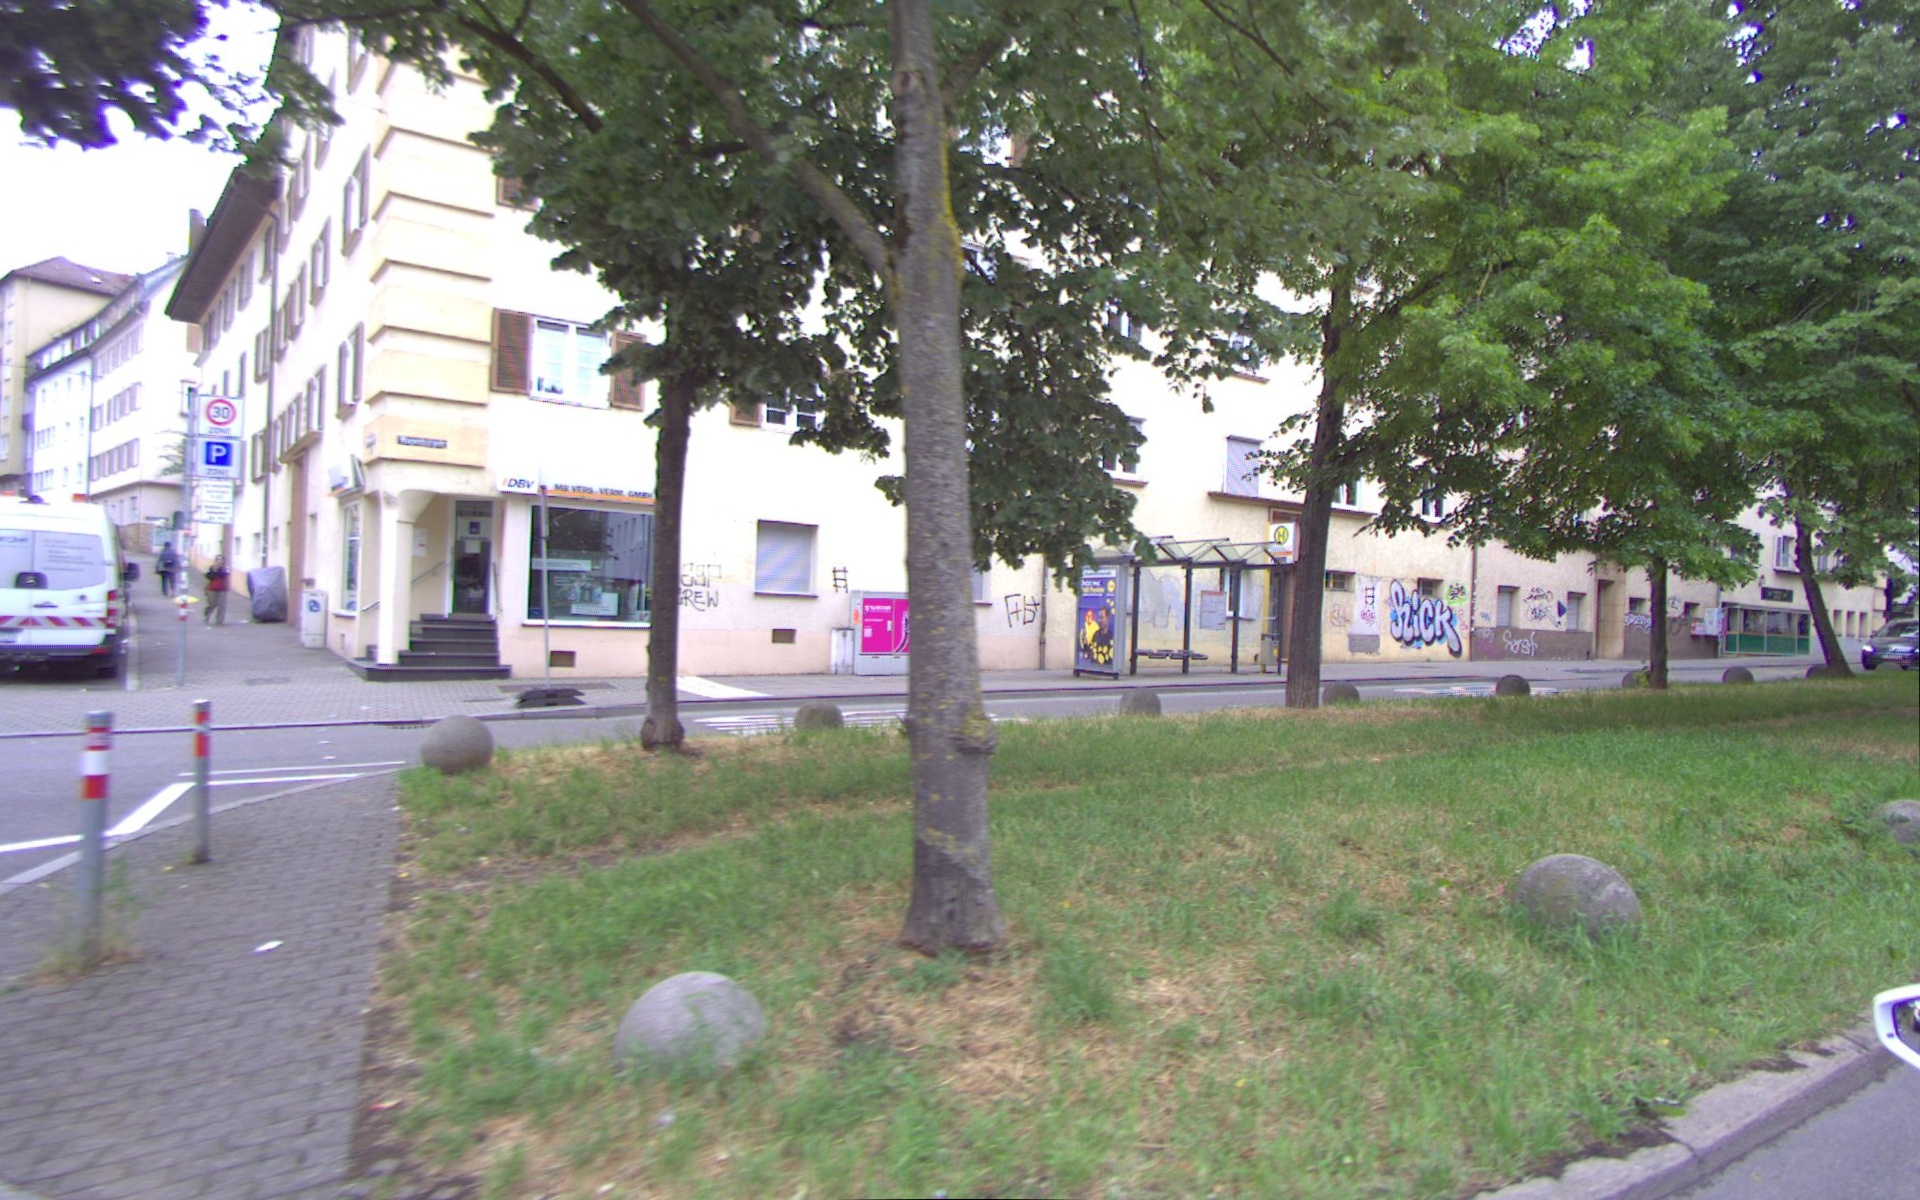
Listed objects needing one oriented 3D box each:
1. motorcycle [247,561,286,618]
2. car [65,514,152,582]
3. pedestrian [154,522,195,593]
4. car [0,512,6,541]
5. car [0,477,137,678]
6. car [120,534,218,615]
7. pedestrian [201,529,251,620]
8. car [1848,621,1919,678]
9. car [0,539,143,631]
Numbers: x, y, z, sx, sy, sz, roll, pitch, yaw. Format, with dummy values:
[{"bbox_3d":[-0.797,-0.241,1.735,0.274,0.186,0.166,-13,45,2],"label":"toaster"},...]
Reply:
[{"bbox_3d":[-17.138,-0.267,24.807,0.678,1.352,1.844,1,1,-37],"label":"motorcycle"},{"bbox_3d":[-28.385,-1.704,33.589,1.982,2.040,3.956,2,1,-38],"label":"car"},{"bbox_3d":[-23.197,-1.241,29.674,0.809,2.040,0.808,1,1,-30],"label":"pedestrian"},{"bbox_3d":[-62.611,-4.740,64.056,3.937,1.802,1.992,3,1,38],"label":"car"},{"bbox_3d":[-14.753,-0.515,16.200,2.160,2.773,5.127,1,4,-41],"label":"car"},{"bbox_3d":[-19.970,-0.636,25.424,1.791,1.848,3.956,2,1,-38],"label":"car"},{"bbox_3d":[-16.926,-0.575,23.175,0.809,2.040,0.808,1,1,-30],"label":"pedestrian"},{"bbox_3d":[30.569,1.584,32.221,4.316,1.650,1.938,2,1,-32],"label":"car"},{"bbox_3d":[-18.170,-0.358,20.609,1.985,1.658,4.713,2,2,-41],"label":"car"}]
